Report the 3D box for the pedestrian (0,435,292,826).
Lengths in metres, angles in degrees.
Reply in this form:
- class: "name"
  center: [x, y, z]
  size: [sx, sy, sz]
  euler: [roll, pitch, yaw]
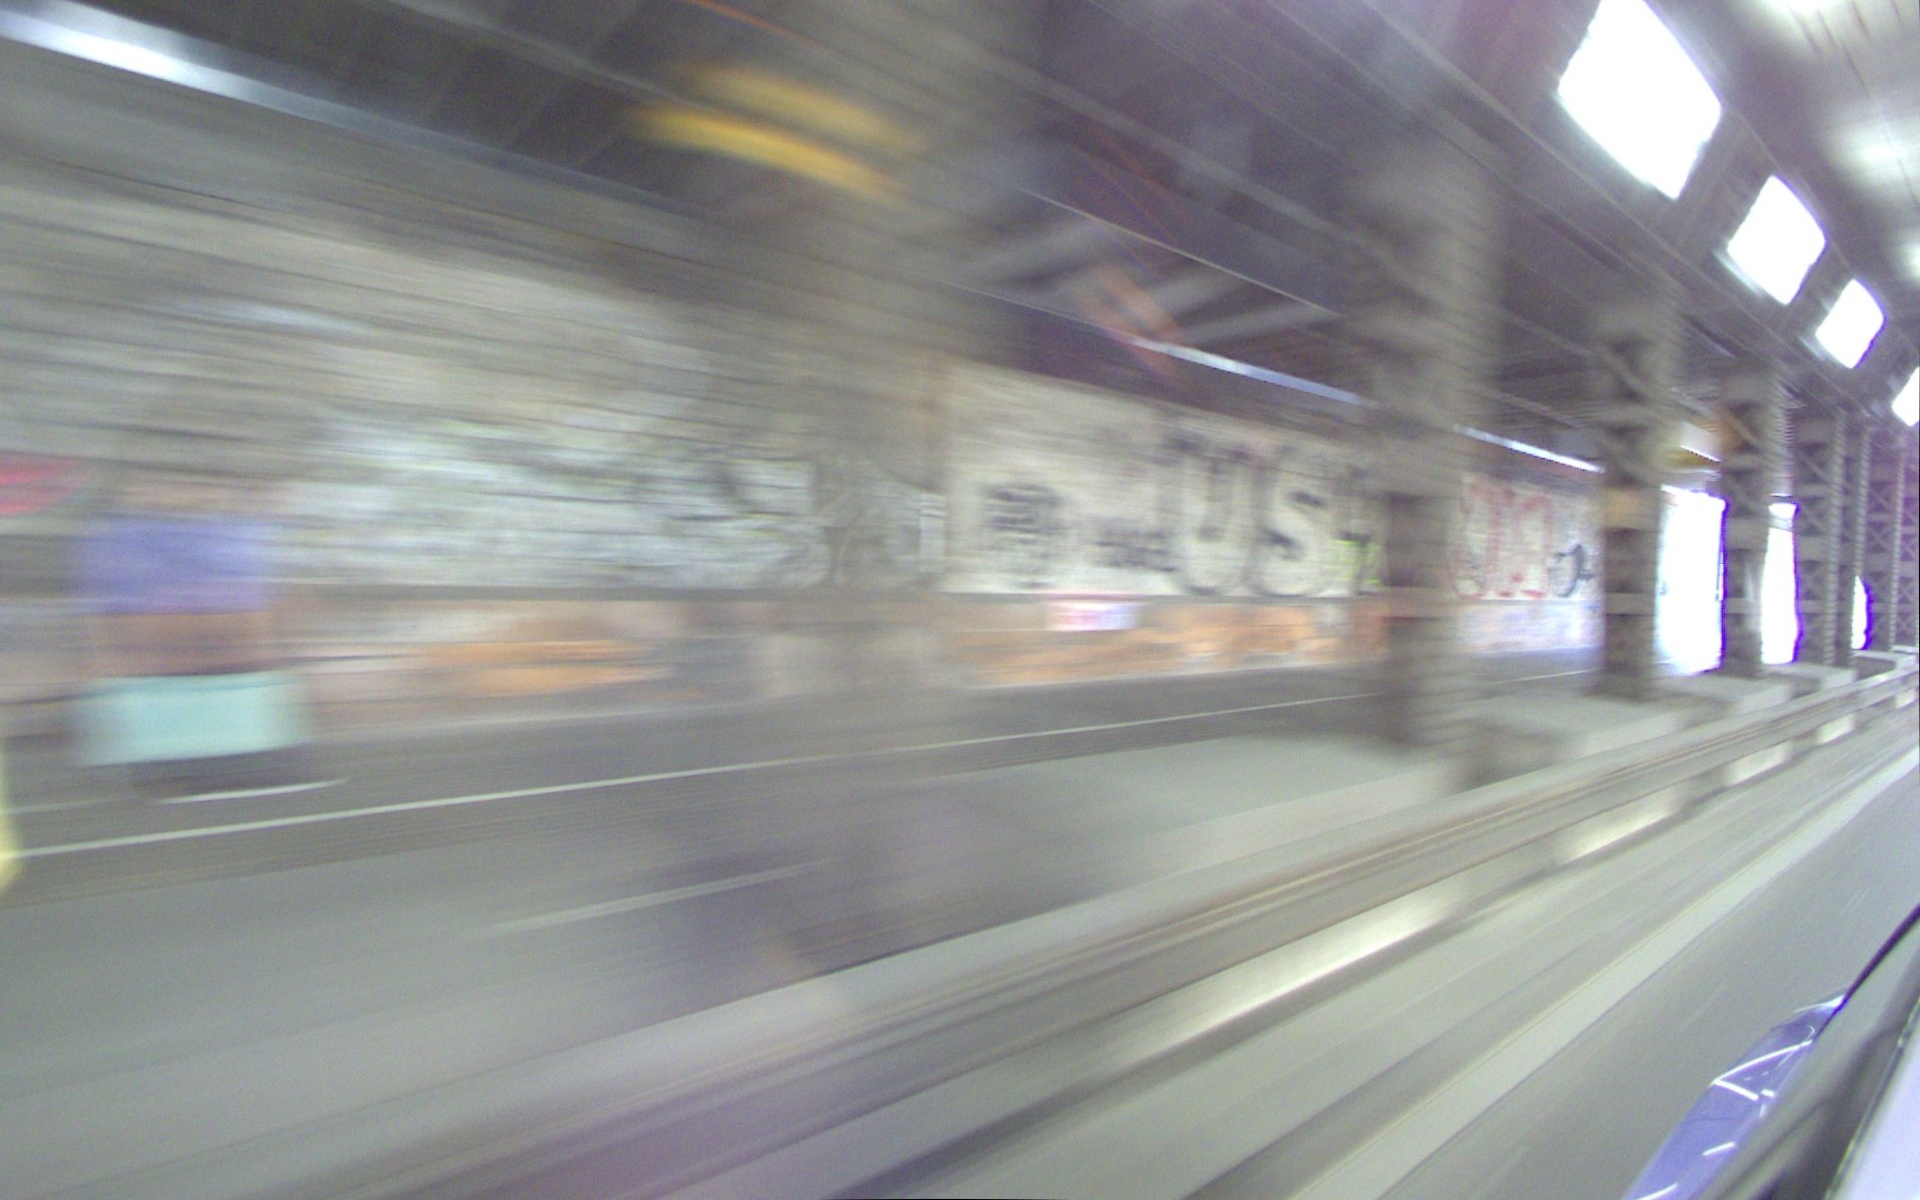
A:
- class: "pedestrian"
  center: [-4.086, 0.116, 5.094]
  size: [1.092, 1.722, 0.801]
  euler: [1, 3, -41]
